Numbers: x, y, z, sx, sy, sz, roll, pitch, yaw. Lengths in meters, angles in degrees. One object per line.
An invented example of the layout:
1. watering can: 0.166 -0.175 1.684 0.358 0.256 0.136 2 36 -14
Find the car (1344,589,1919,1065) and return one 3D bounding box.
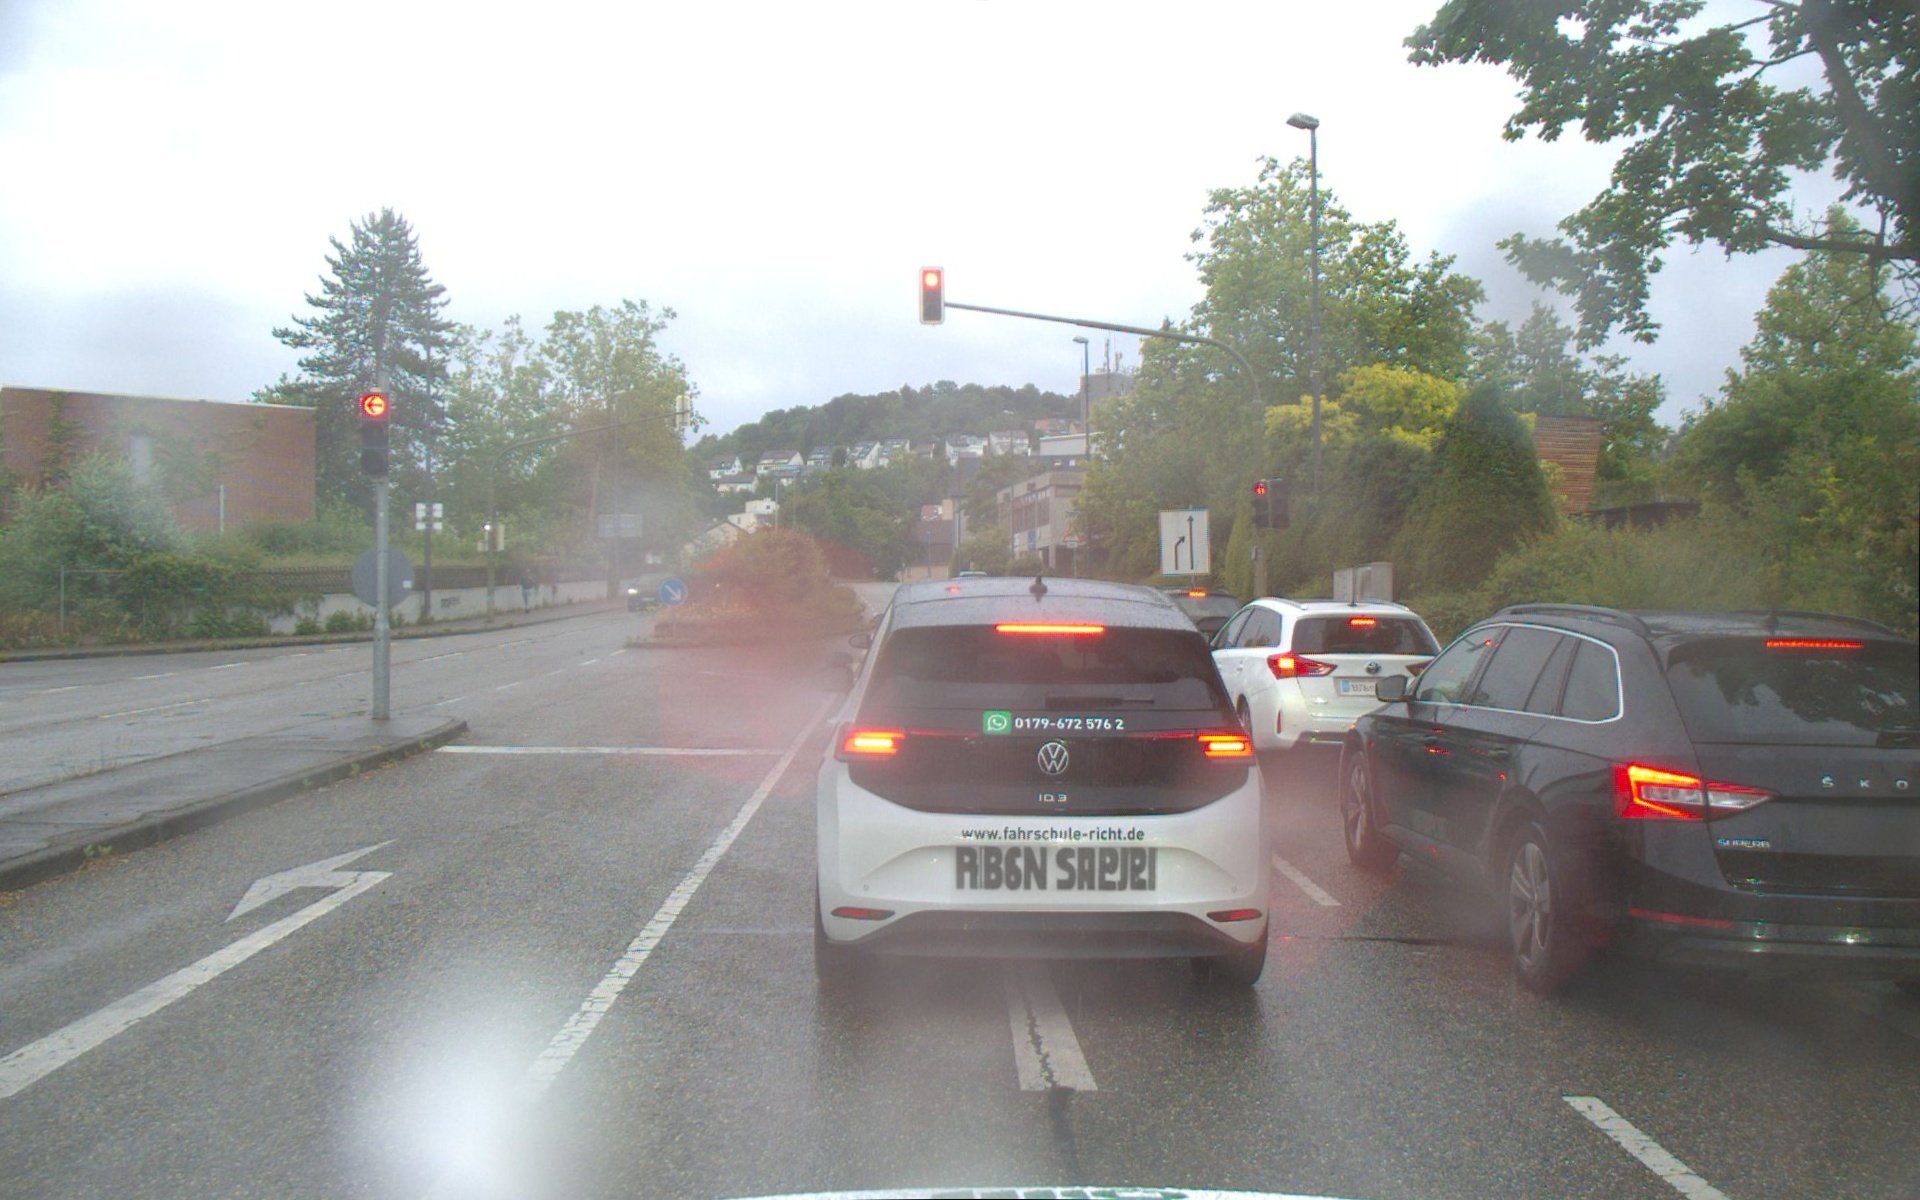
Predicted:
1. car: 3.140 0.728 7.493 1.800 1.492 4.350 1 1 1

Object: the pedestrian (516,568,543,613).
1. pedestrian: -15.722 -0.356 60.419 0.744 1.595 0.825 -2 0 -2

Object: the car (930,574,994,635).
1. car: 0.099 0.110 43.316 1.548 1.492 4.001 -1 0 1

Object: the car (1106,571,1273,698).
1. car: 3.141 0.448 23.369 1.739 1.609 3.999 1 0 -1

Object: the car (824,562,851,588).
1. car: -10.381 -2.074 140.150 1.953 2.049 3.999 1 -1 -1

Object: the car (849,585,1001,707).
1. car: -0.465 0.545 21.894 1.800 1.424 3.830 1 1 -1

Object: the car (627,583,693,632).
1. car: -12.172 0.287 67.329 1.953 1.836 3.999 -3 0 -1

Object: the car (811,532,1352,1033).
1. car: 0.362 0.598 7.910 1.800 1.657 4.614 1 1 -1

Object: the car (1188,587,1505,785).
1. car: 3.315 0.662 15.031 1.800 1.492 4.116 1 1 -1

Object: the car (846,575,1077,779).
1. car: -0.035 0.590 15.223 1.800 1.582 4.174 1 1 -1
